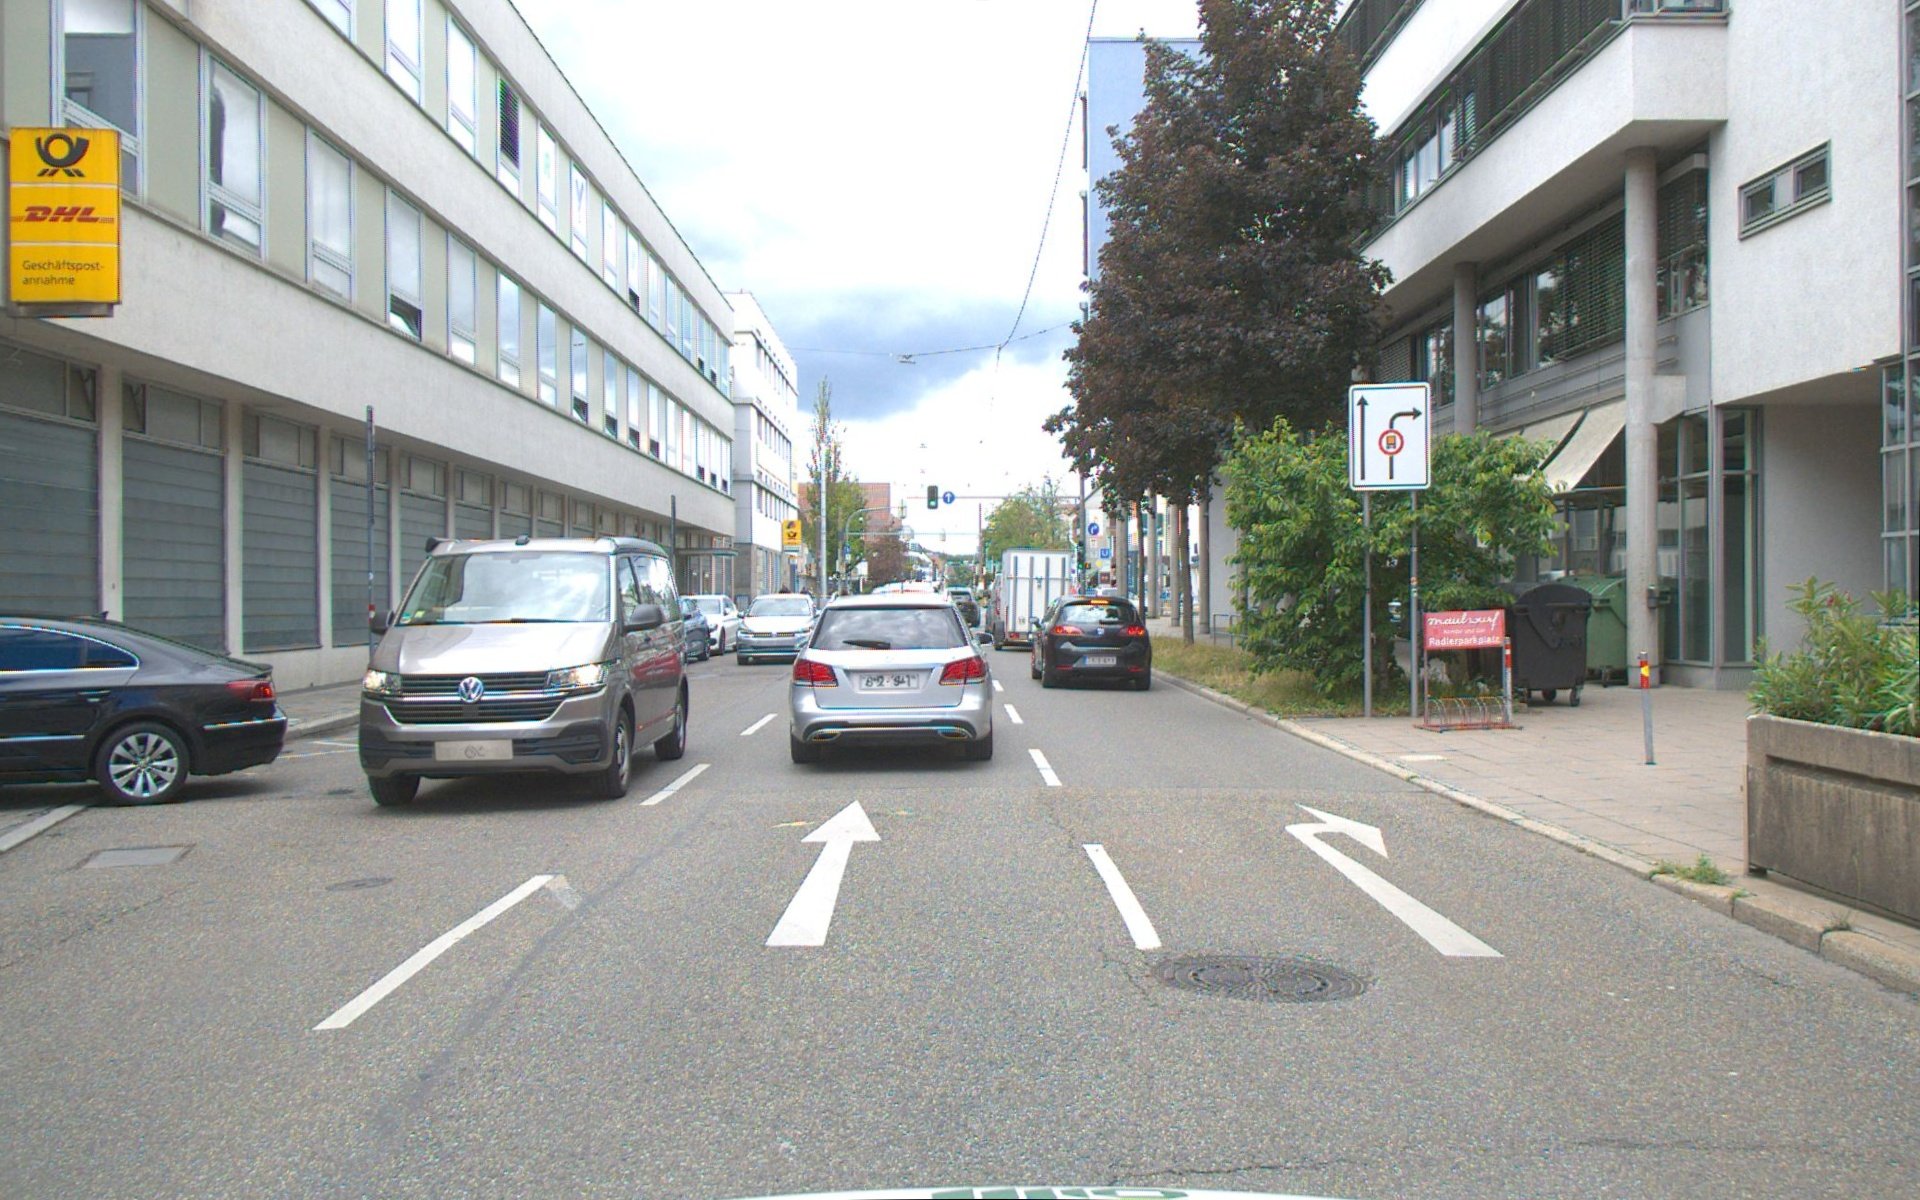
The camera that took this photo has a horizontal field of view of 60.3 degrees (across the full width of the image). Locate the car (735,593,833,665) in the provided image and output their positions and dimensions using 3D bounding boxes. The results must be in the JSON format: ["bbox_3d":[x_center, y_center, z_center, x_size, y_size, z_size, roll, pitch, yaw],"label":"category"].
[{"bbox_3d":[-3.801,0.590,36.259,1.733,1.438,4.174,-2,0,-1],"label":"car"}]

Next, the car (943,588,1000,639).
[{"bbox_3d":[0.335,0.419,54.674,1.767,1.629,3.737,1,0,-1],"label":"car"}]

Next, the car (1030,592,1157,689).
[{"bbox_3d":[2.112,0.605,27.104,1.729,1.458,3.828,0,0,-1],"label":"car"}]

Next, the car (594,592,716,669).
[{"bbox_3d":[-6.564,0.613,36.009,1.953,1.543,4.174,0,0,-1],"label":"car"}]

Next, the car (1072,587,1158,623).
[{"bbox_3d":[7.617,0.260,81.197,3.951,1.680,1.823,1,0,-34],"label":"car"}]

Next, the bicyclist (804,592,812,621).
[{"bbox_3d":[-9.079,0.375,98.768,0.436,1.726,0.555,1,0,-1],"label":"bicyclist"}]

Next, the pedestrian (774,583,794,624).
[{"bbox_3d":[-8.386,0.160,78.815,0.899,1.901,0.783,0,0,-1],"label":"pedestrian"}]

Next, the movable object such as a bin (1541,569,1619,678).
[{"bbox_3d":[9.103,0.344,24.307,0.804,1.530,0.732,-3,-1,0],"label":"movable object such as a bin"}]

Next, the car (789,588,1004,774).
[{"bbox_3d":[-0.558,0.651,15.507,1.767,1.519,3.737,0,0,-1],"label":"car"}]

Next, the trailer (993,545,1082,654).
[{"bbox_3d":[1.938,-0.025,43.070,1.953,2.653,5.348,0,0,-1],"label":"trailer"}]

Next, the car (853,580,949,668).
[{"bbox_3d":[-1.141,0.430,32.848,1.767,1.629,3.737,1,0,-1],"label":"car"}]

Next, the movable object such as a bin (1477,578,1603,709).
[{"bbox_3d":[7.041,0.509,20.138,0.924,1.496,1.445,-2,0,-3],"label":"movable object such as a bin"}]

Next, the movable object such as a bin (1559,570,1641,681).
[{"bbox_3d":[9.105,0.369,23.549,0.804,1.516,0.732,-3,-1,0],"label":"movable object such as a bin"}]

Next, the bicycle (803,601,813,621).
[{"bbox_3d":[-9.075,0.630,98.691,0.436,1.187,1.920,1,0,-1],"label":"bicycle"}]

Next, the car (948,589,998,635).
[{"bbox_3d":[0.459,0.430,61.743,1.767,1.629,3.737,1,0,-1],"label":"car"}]

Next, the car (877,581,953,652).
[{"bbox_3d":[-1.097,0.374,40.637,1.767,1.629,3.737,1,0,-1],"label":"car"}]

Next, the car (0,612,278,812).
[{"bbox_3d":[-7.584,0.821,12.463,4.352,1.389,1.768,-1,0,-30],"label":"car"}]

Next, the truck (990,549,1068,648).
[{"bbox_3d":[1.877,-0.053,45.900,1.953,2.653,3.259,0,0,-1],"label":"truck"}]

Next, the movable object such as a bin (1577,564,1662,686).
[{"bbox_3d":[9.083,0.345,22.793,0.804,1.617,0.732,-3,-1,0],"label":"movable object such as a bin"}]

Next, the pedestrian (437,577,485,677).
[{"bbox_3d":[-9.119,0.483,30.253,0.629,1.800,0.810,0,0,-1],"label":"pedestrian"}]

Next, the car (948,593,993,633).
[{"bbox_3d":[0.424,0.519,69.076,1.767,1.629,3.737,1,0,-1],"label":"car"}]

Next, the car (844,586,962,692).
[{"bbox_3d":[-0.890,0.569,26.775,1.767,1.580,3.737,0,0,-1],"label":"car"}]

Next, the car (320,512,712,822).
[{"bbox_3d":[-3.395,0.437,13.740,1.953,2.049,4.901,-2,0,-1],"label":"car"}]

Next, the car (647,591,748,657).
[{"bbox_3d":[-6.560,0.561,41.715,1.953,1.543,4.174,0,0,-1],"label":"car"}]
